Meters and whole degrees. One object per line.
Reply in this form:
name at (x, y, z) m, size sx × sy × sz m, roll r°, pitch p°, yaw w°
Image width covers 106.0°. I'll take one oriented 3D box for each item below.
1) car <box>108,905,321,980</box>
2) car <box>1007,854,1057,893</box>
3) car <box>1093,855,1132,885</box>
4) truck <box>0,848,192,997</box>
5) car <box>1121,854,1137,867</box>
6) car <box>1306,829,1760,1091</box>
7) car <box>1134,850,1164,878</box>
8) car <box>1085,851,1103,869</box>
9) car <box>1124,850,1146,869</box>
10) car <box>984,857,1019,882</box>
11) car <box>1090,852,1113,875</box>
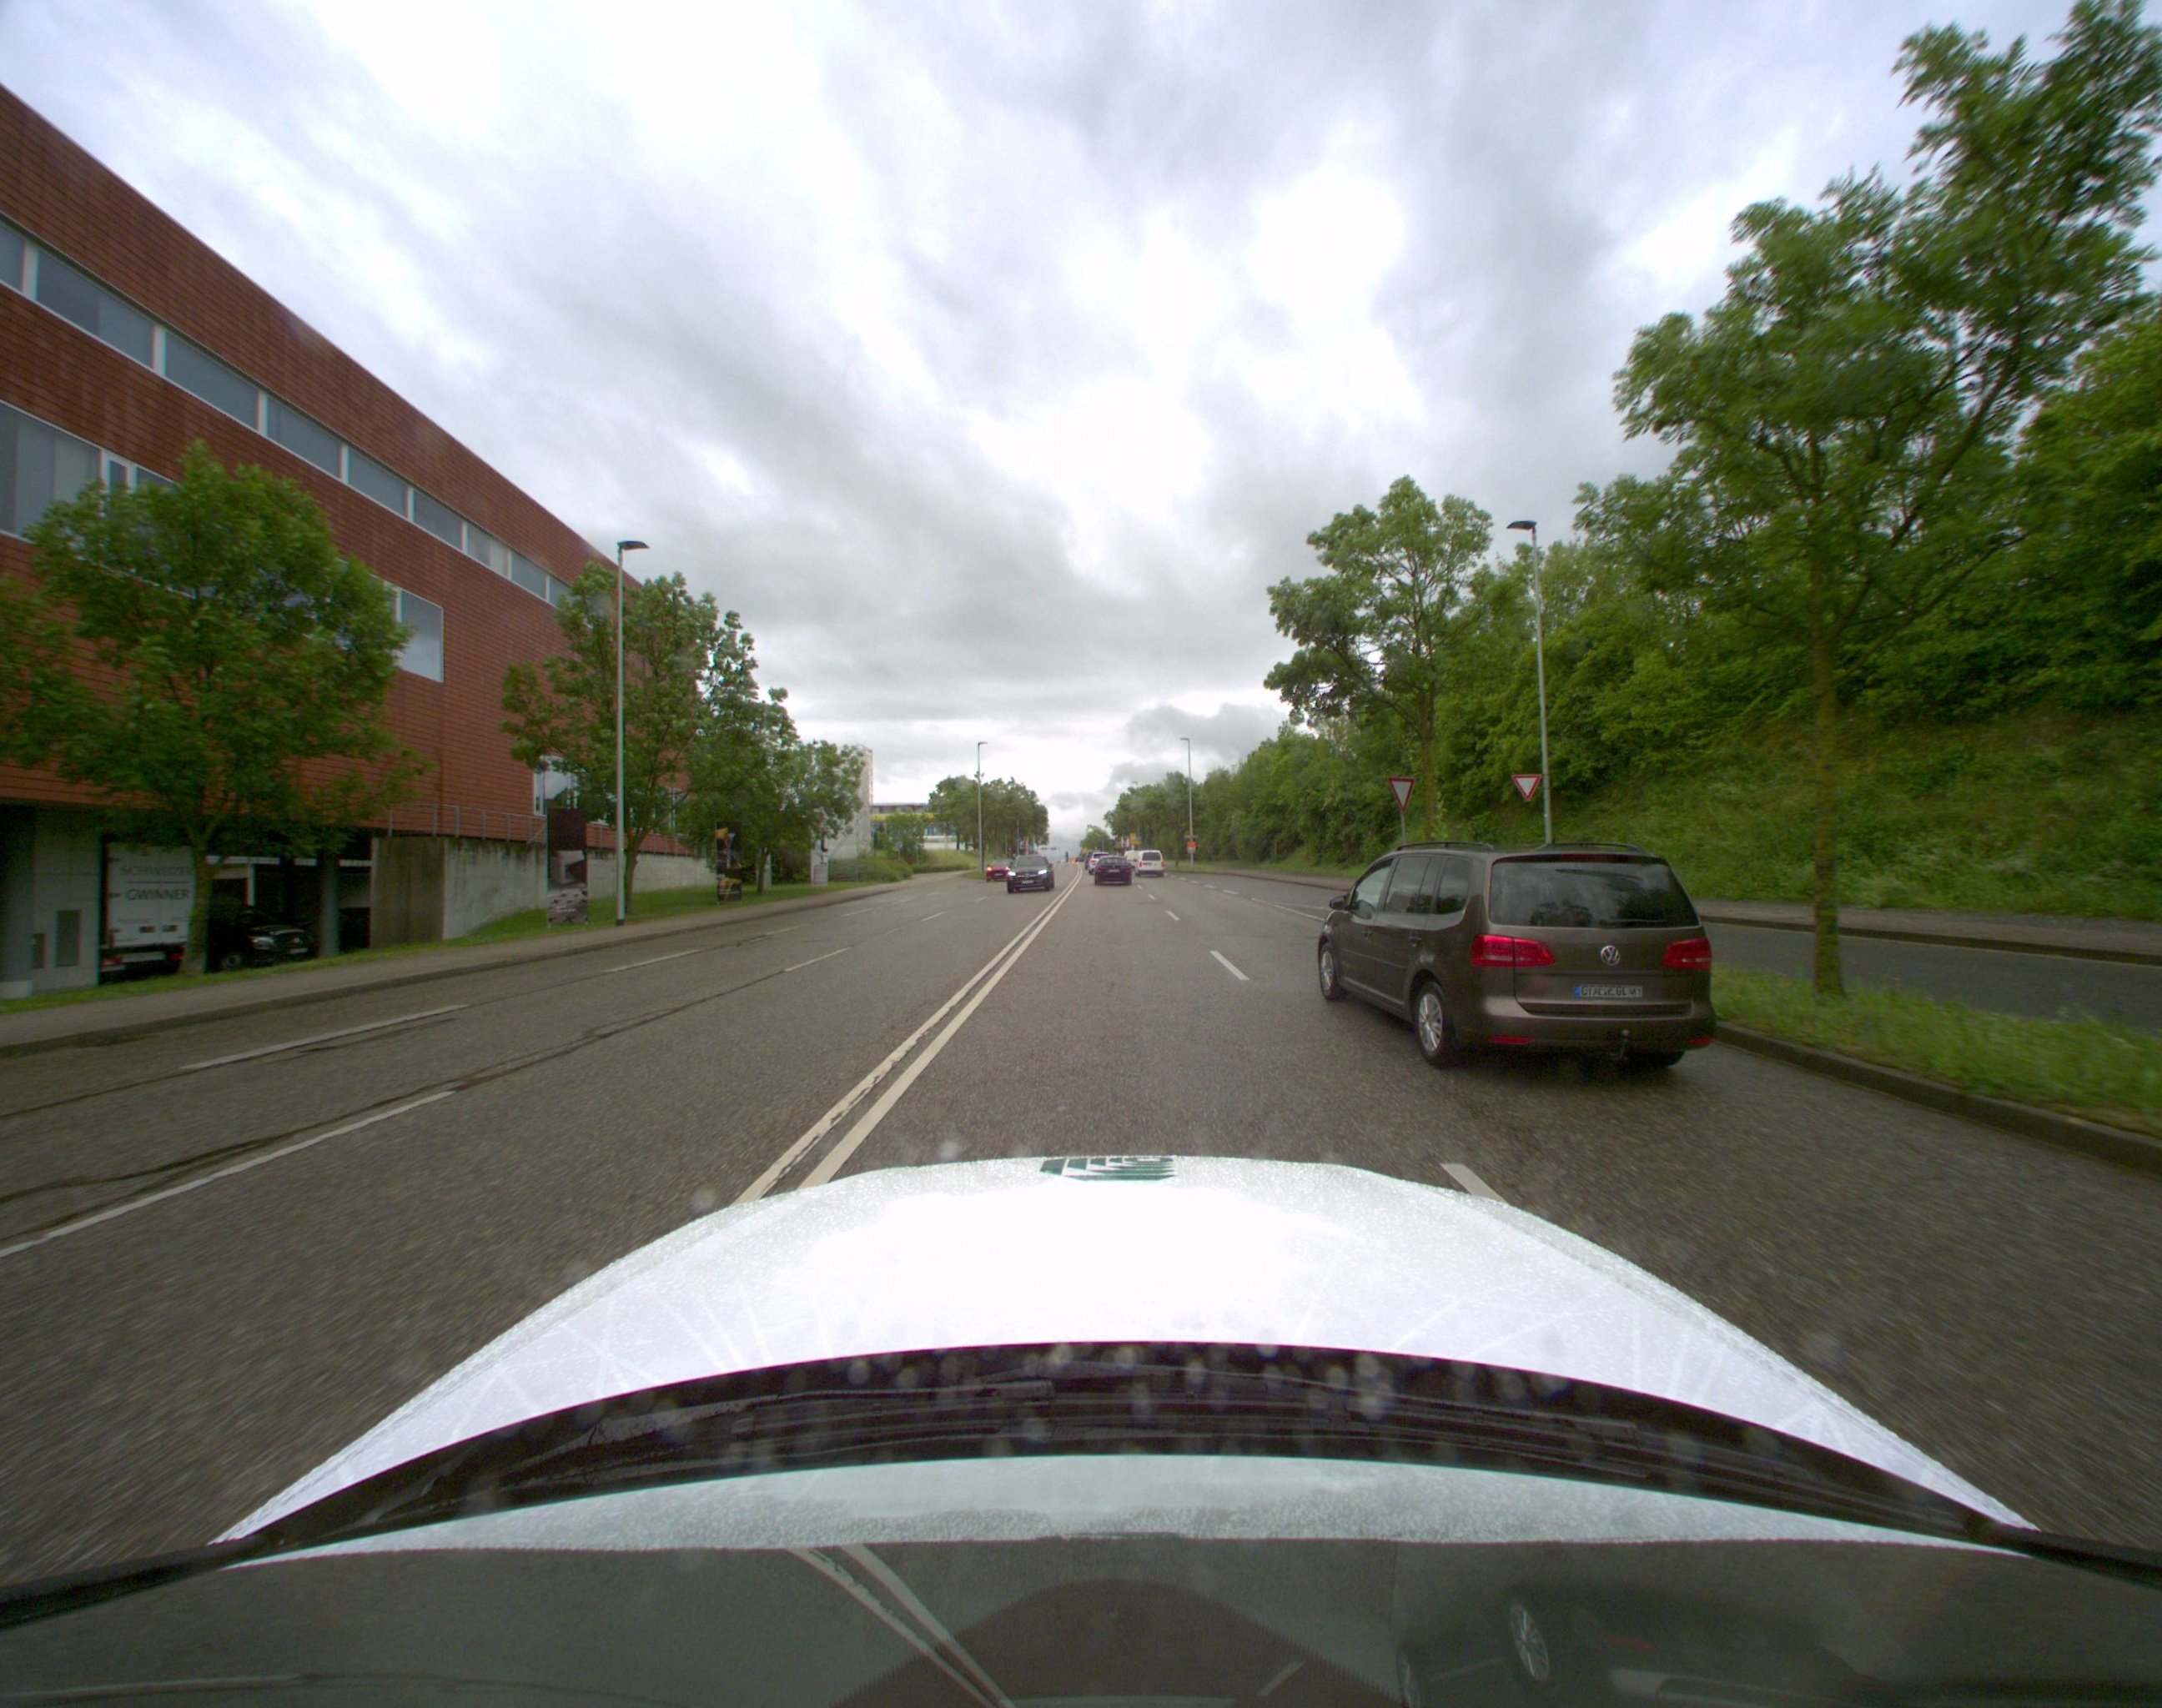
car at (-24.140, 2.437, 22.803) m, size 4.029 × 1.750 × 1.680 m, roll -2°, pitch 0°, yaw -2°
car at (-2.153, 0.835, 37.050) m, size 1.852 × 1.577 × 4.322 m, roll -3°, pitch 0°, yaw 1°
car at (1.557, 0.775, 41.210) m, size 1.848 × 1.419 × 3.957 m, roll 0°, pitch 0°, yaw 1°
truck at (-25.773, 1.664, 19.586) m, size 6.124 × 3.308 × 2.020 m, roll -2°, pitch -1°, yaw -5°
car at (5.459, 0.730, 93.038) m, size 1.595 × 1.372 × 3.679 m, roll -2°, pitch 0°, yaw 0°
car at (3.351, 0.665, 7.081) m, size 1.708 × 1.596 × 4.131 m, roll -1°, pitch 0°, yaw 1°
car at (4.587, 0.654, 55.552) m, size 1.735 × 1.869 × 3.946 m, roll 0°, pitch 0°, yaw 0°
car at (1.266, 0.585, 82.614) m, size 1.752 × 1.708 × 3.946 m, roll -2°, pitch 0°, yaw 0°
car at (5.137, 0.516, 77.690) m, size 1.808 × 1.708 × 3.946 m, roll -2°, pitch 0°, yaw 0°
car at (-5.311, 1.040, 54.866) m, size 1.669 × 1.506 × 4.220 m, roll -3°, pitch 0°, yaw 4°
car at (1.556, 0.703, 61.886) m, size 1.722 × 1.711 × 3.384 m, roll 0°, pitch 0°, yaw 2°
